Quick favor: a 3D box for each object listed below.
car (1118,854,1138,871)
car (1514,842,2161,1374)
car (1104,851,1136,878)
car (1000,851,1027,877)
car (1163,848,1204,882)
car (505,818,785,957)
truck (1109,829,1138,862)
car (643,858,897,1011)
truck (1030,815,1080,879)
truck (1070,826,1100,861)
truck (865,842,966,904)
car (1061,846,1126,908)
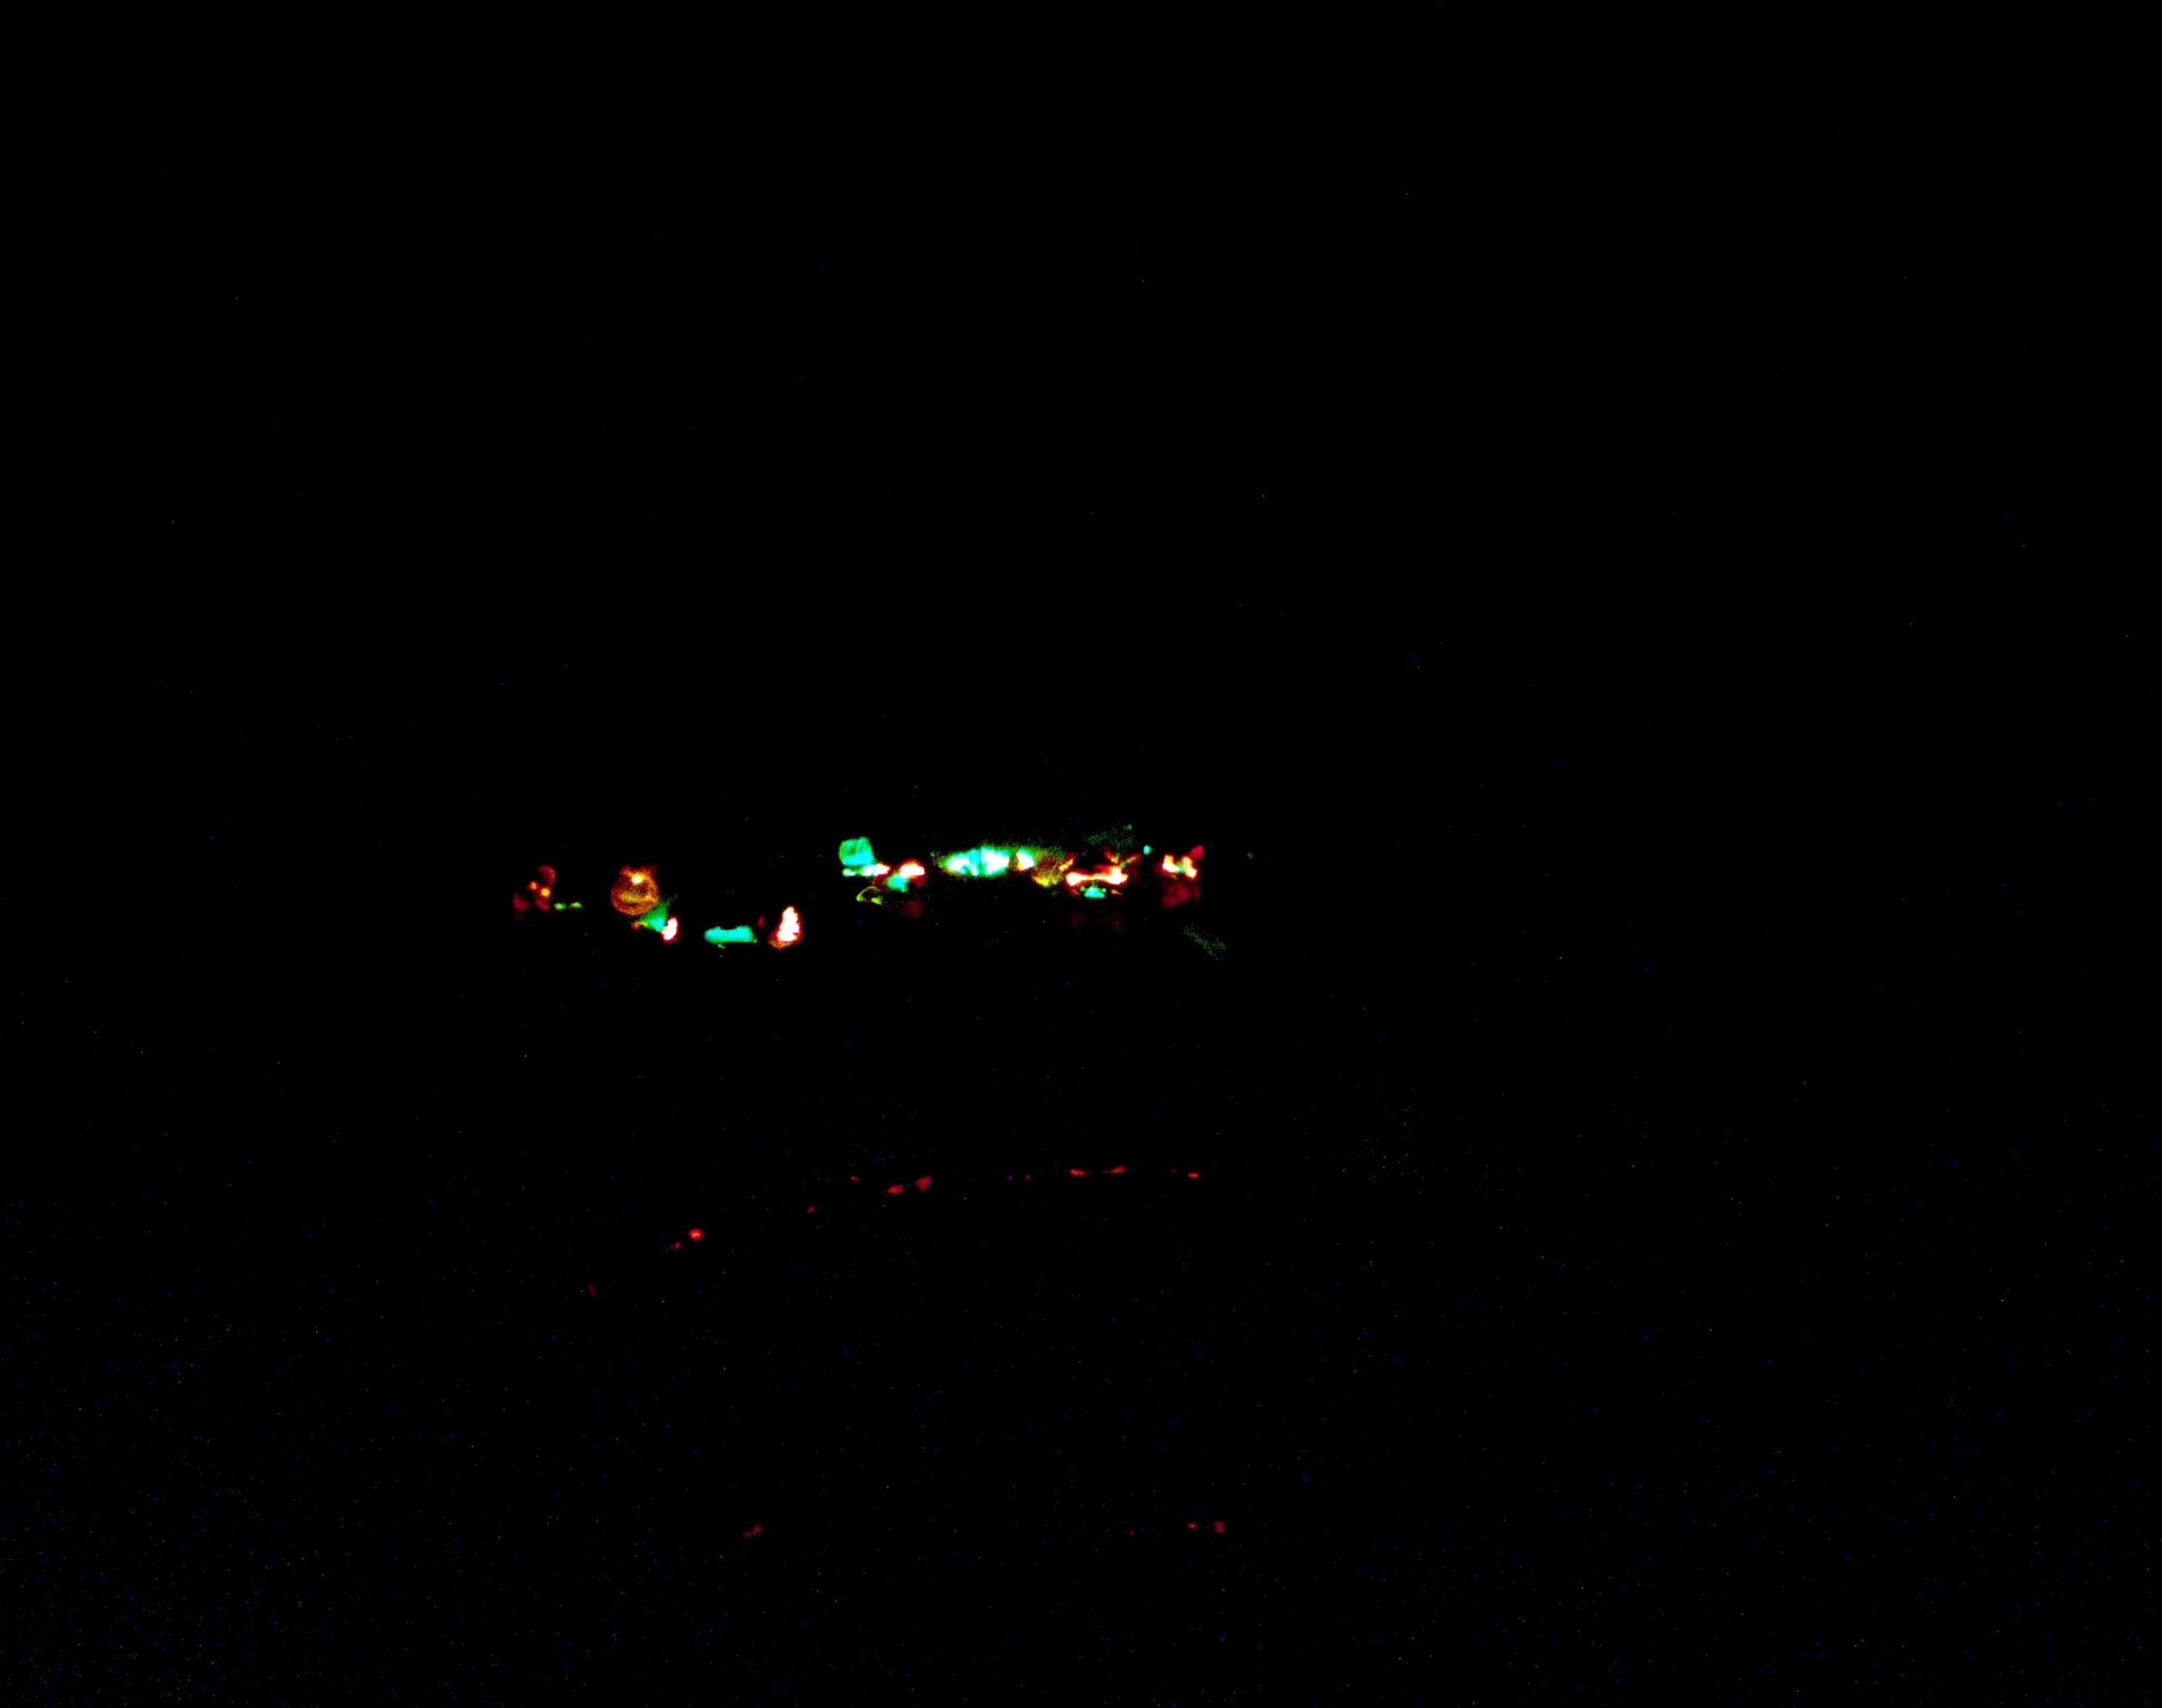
[{"bbox_3d":[4.999,0.908,86.347,1.986,1.704,4.460,-1,0,2],"label":"car"},{"bbox_3d":[3.892,0.689,3.635,1.763,1.457,4.196,-1,0,1],"label":"car"},{"bbox_3d":[2.564,0.697,54.607,2.031,1.761,4.517,-1,0,2],"label":"car"},{"bbox_3d":[-6.034,0.893,72.952,2.260,2.273,5.376,0,-1,-5],"label":"car"},{"bbox_3d":[5.481,0.581,44.036,1.870,1.762,4.002,-1,-1,2],"label":"car"},{"bbox_3d":[-7.747,0.525,15.373,2.115,2.104,5.631,-1,0,1],"label":"car"},{"bbox_3d":[7.136,-1.348,137.793,4.149,5.215,9.949,-1,-1,-1],"label":"truck"},{"bbox_3d":[-3.571,0.811,10.246,1.652,1.431,4.243,-1,0,-2],"label":"car"},{"bbox_3d":[-2.114,-0.489,65.276,3.647,4.737,9.843,-1,-1,-2],"label":"truck"},{"bbox_3d":[0.706,-1.607,132.795,4.236,5.444,10.893,-1,-1,3],"label":"truck"},{"bbox_3d":[-6.387,0.703,32.286,2.849,2.201,5.856,-1,0,-1],"label":"truck"},{"bbox_3d":[0.435,0.634,24.624,1.758,1.689,4.003,-1,0,2],"label":"car"}]
